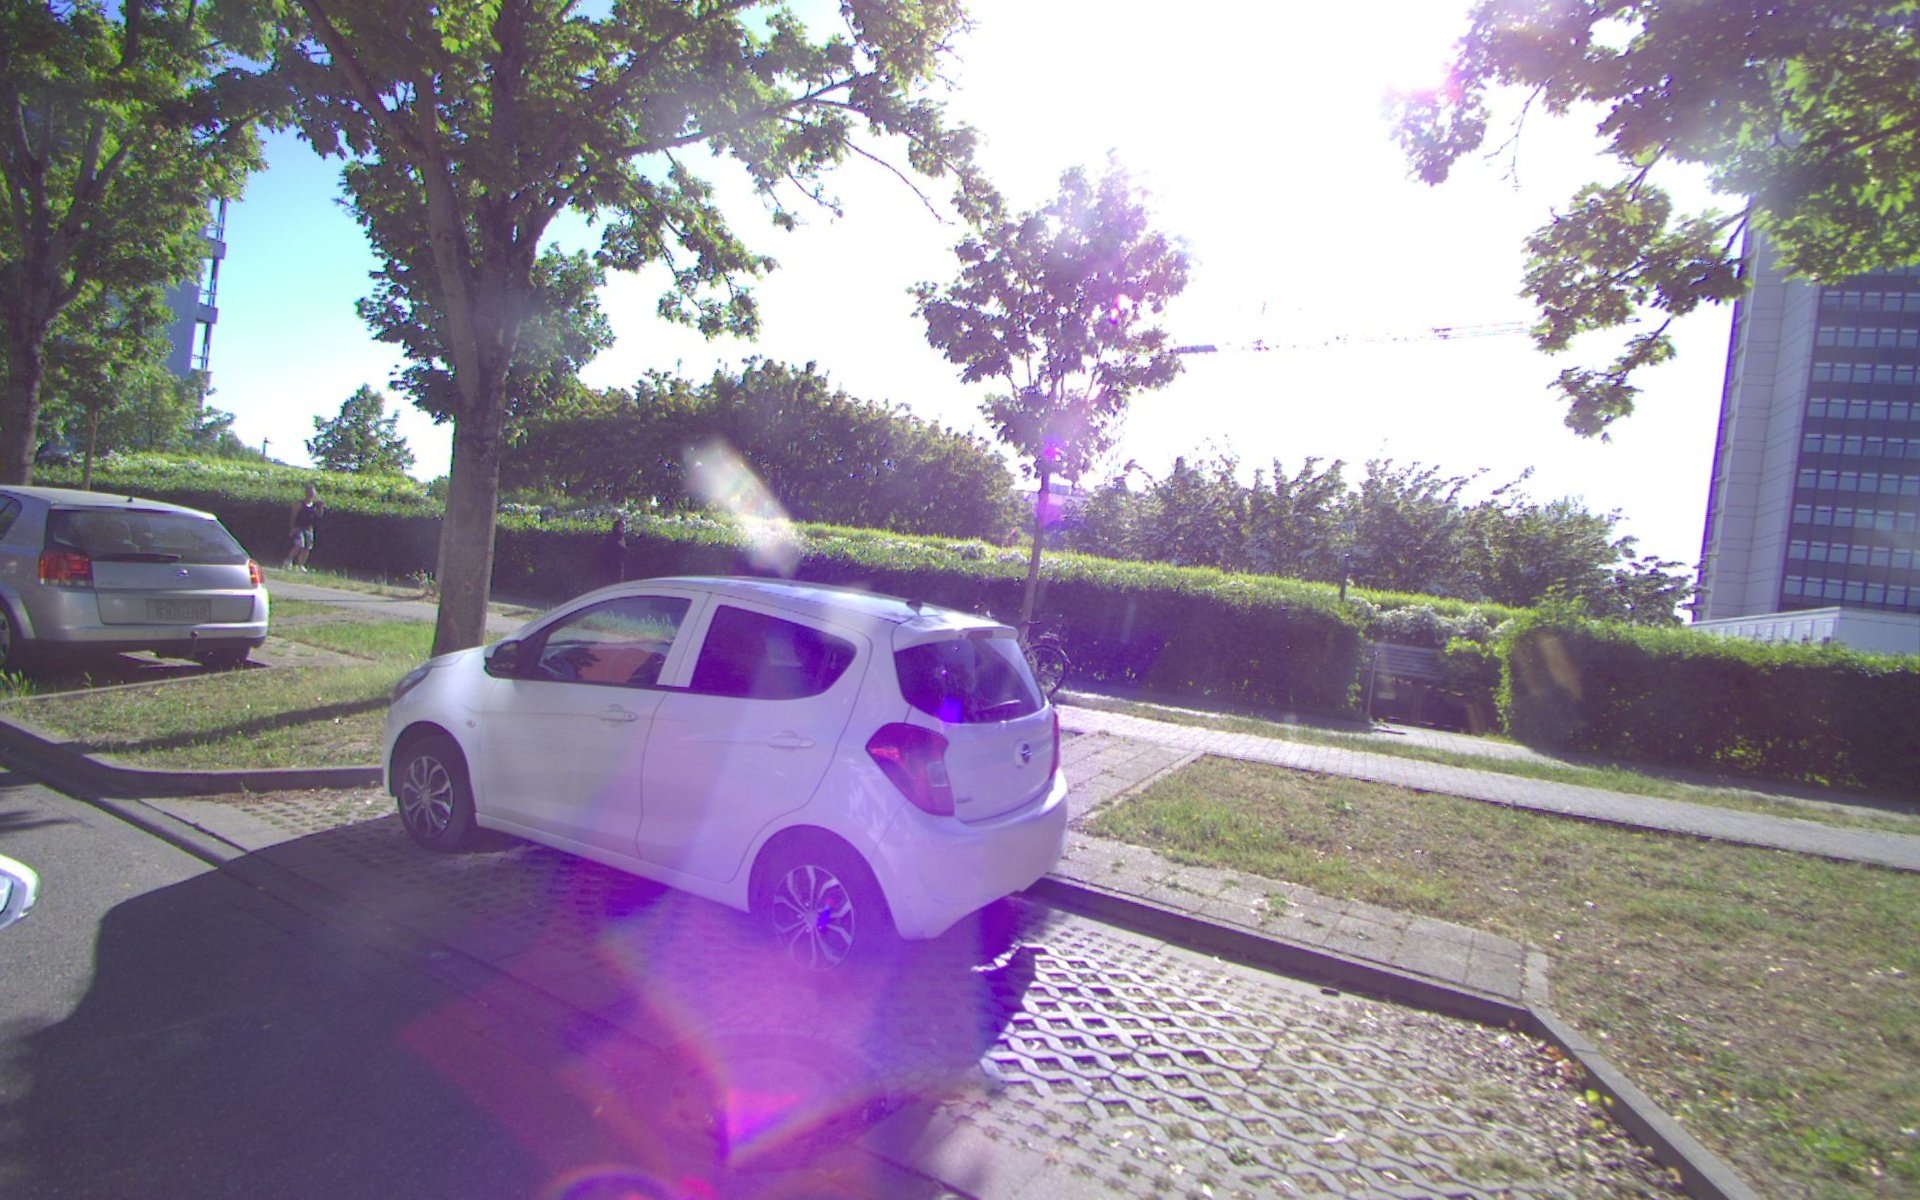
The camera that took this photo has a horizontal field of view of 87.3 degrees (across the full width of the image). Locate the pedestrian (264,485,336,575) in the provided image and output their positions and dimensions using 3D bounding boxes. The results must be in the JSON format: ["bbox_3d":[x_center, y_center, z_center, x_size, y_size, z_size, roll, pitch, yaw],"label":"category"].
[{"bbox_3d":[-12.510,-1.319,19.076,0.920,1.561,0.608,7,1,22],"label":"pedestrian"}]

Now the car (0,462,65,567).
[{"bbox_3d":[-14.913,-1.300,13.449,1.614,1.449,4.091,7,3,27],"label":"car"}]

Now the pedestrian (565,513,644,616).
[{"bbox_3d":[-6.001,-0.591,16.982,0.837,1.608,0.725,7,1,22],"label":"pedestrian"}]

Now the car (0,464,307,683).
[{"bbox_3d":[-8.192,-0.400,8.902,4.540,1.513,1.812,7,3,24],"label":"car"}]

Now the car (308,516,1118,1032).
[{"bbox_3d":[-1.312,0.549,5.028,3.700,1.513,1.644,7,3,28],"label":"car"}]

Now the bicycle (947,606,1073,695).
[{"bbox_3d":[0.599,0.590,11.985,1.382,0.878,0.347,7,2,9],"label":"bicycle"}]
